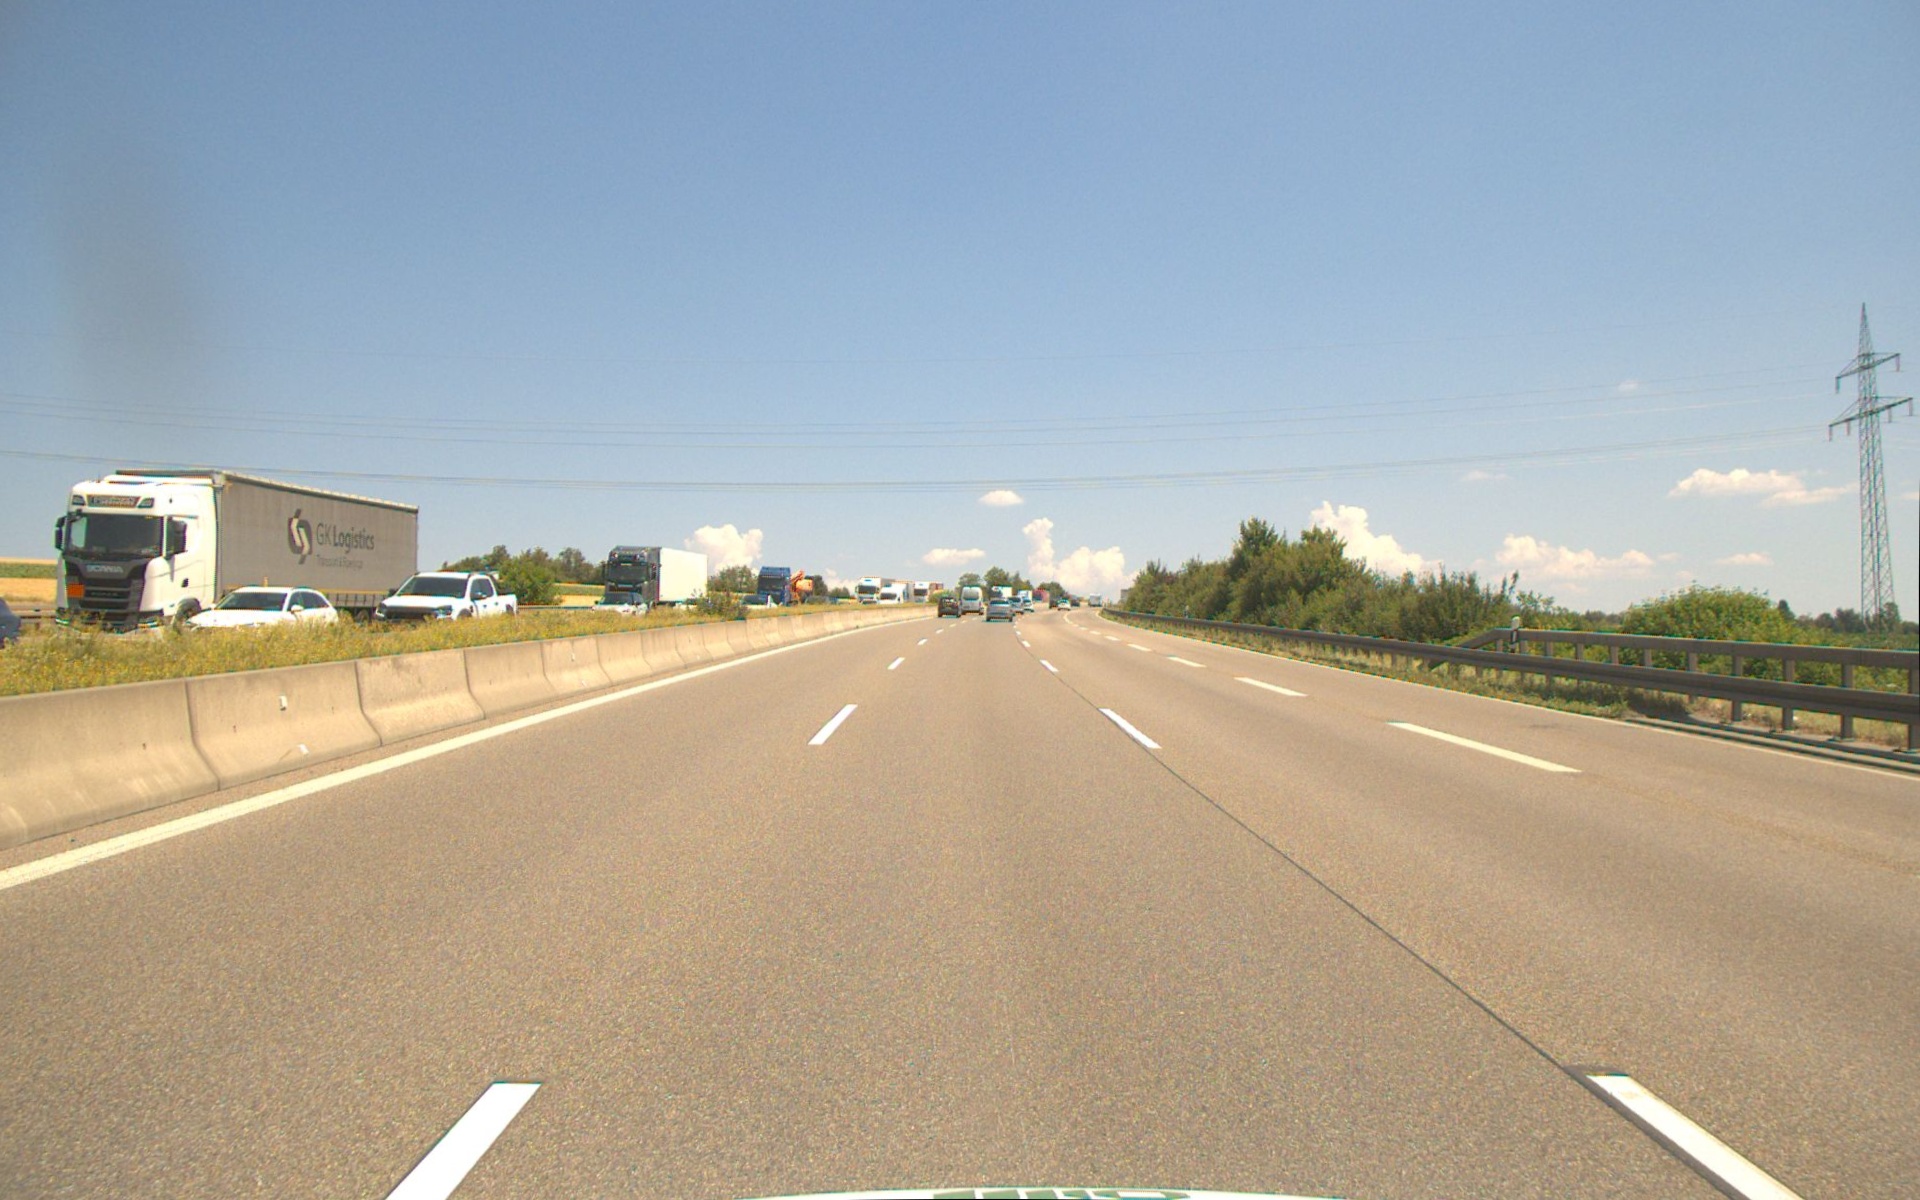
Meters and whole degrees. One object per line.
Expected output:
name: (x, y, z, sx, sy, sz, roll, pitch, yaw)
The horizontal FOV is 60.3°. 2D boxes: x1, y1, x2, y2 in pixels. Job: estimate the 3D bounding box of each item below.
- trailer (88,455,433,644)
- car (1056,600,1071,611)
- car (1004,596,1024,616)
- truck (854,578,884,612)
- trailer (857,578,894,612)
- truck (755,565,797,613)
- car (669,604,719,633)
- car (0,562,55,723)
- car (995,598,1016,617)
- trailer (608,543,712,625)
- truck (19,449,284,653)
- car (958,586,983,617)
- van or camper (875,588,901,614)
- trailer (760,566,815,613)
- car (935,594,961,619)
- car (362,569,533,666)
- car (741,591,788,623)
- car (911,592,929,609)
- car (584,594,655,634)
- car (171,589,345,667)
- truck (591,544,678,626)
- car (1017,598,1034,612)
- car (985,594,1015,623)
trailer: (-18.854, -1.148, 46.377, 3.059, 4.400, 14.546, 1, 0, 1)
car: (14.758, 0.786, 236.077, 1.861, 1.467, 4.003, 1, 0, 8)
car: (5.646, 0.631, 172.517, 1.951, 1.937, 4.001, 1, -3, 5)
truck: (-11.214, -0.636, 204.936, 2.792, 4.098, 6.518, 1, 0, 5)
trailer: (-10.699, -0.562, 211.068, 2.734, 4.177, 14.014, 1, 0, 5)
truck: (-15.706, -0.935, 141.514, 2.718, 4.007, 6.139, 1, 0, 2)
car: (-14.208, 0.996, 88.547, 1.827, 1.482, 4.573, 1, 0, 1)
car: (-11.128, 0.433, 16.327, 1.953, 1.702, 4.476, 1, 0, -1)
car: (4.177, 0.692, 152.759, 1.952, 1.613, 4.000, 0, -2, 1)
trailer: (-17.639, -0.900, 98.525, 3.175, 4.464, 14.030, 1, 0, 2)
truck: (-18.985, -1.059, 39.342, 3.067, 4.403, 6.147, 1, 0, 1)
car: (1.056, 0.140, 157.078, 2.134, 2.671, 4.673, 1, -3, 3)
van or camper: (-7.139, 0.121, 165.312, 2.024, 2.507, 7.521, 0, 0, 2)
trailer: (-15.380, -0.850, 148.381, 2.780, 4.027, 13.732, 1, 0, 3)
car: (-0.985, 0.529, 133.647, 1.809, 1.893, 4.207, 1, 1, 3)
car: (-11.196, 0.390, 36.611, 1.953, 1.937, 5.676, 1, -1, 0)
car: (-10.164, 0.373, 86.306, 1.841, 1.598, 4.589, 1, 0, 1)
car: (-6.190, 0.060, 256.274, 2.282, 2.602, 5.609, 1, 1, 5)
car: (-14.368, 0.588, 70.000, 1.952, 1.615, 4.589, 1, -1, 1)
car: (-14.687, 0.555, 34.891, 1.805, 1.486, 4.490, 1, 0, -1)
truck: (-17.868, -0.810, 91.342, 3.159, 4.280, 7.127, 1, 0, 2)
car: (8.189, 0.634, 206.180, 1.952, 1.579, 4.002, 2, 0, 3)
car: (2.800, 0.587, 114.563, 1.952, 1.781, 4.000, 1, -3, 2)
